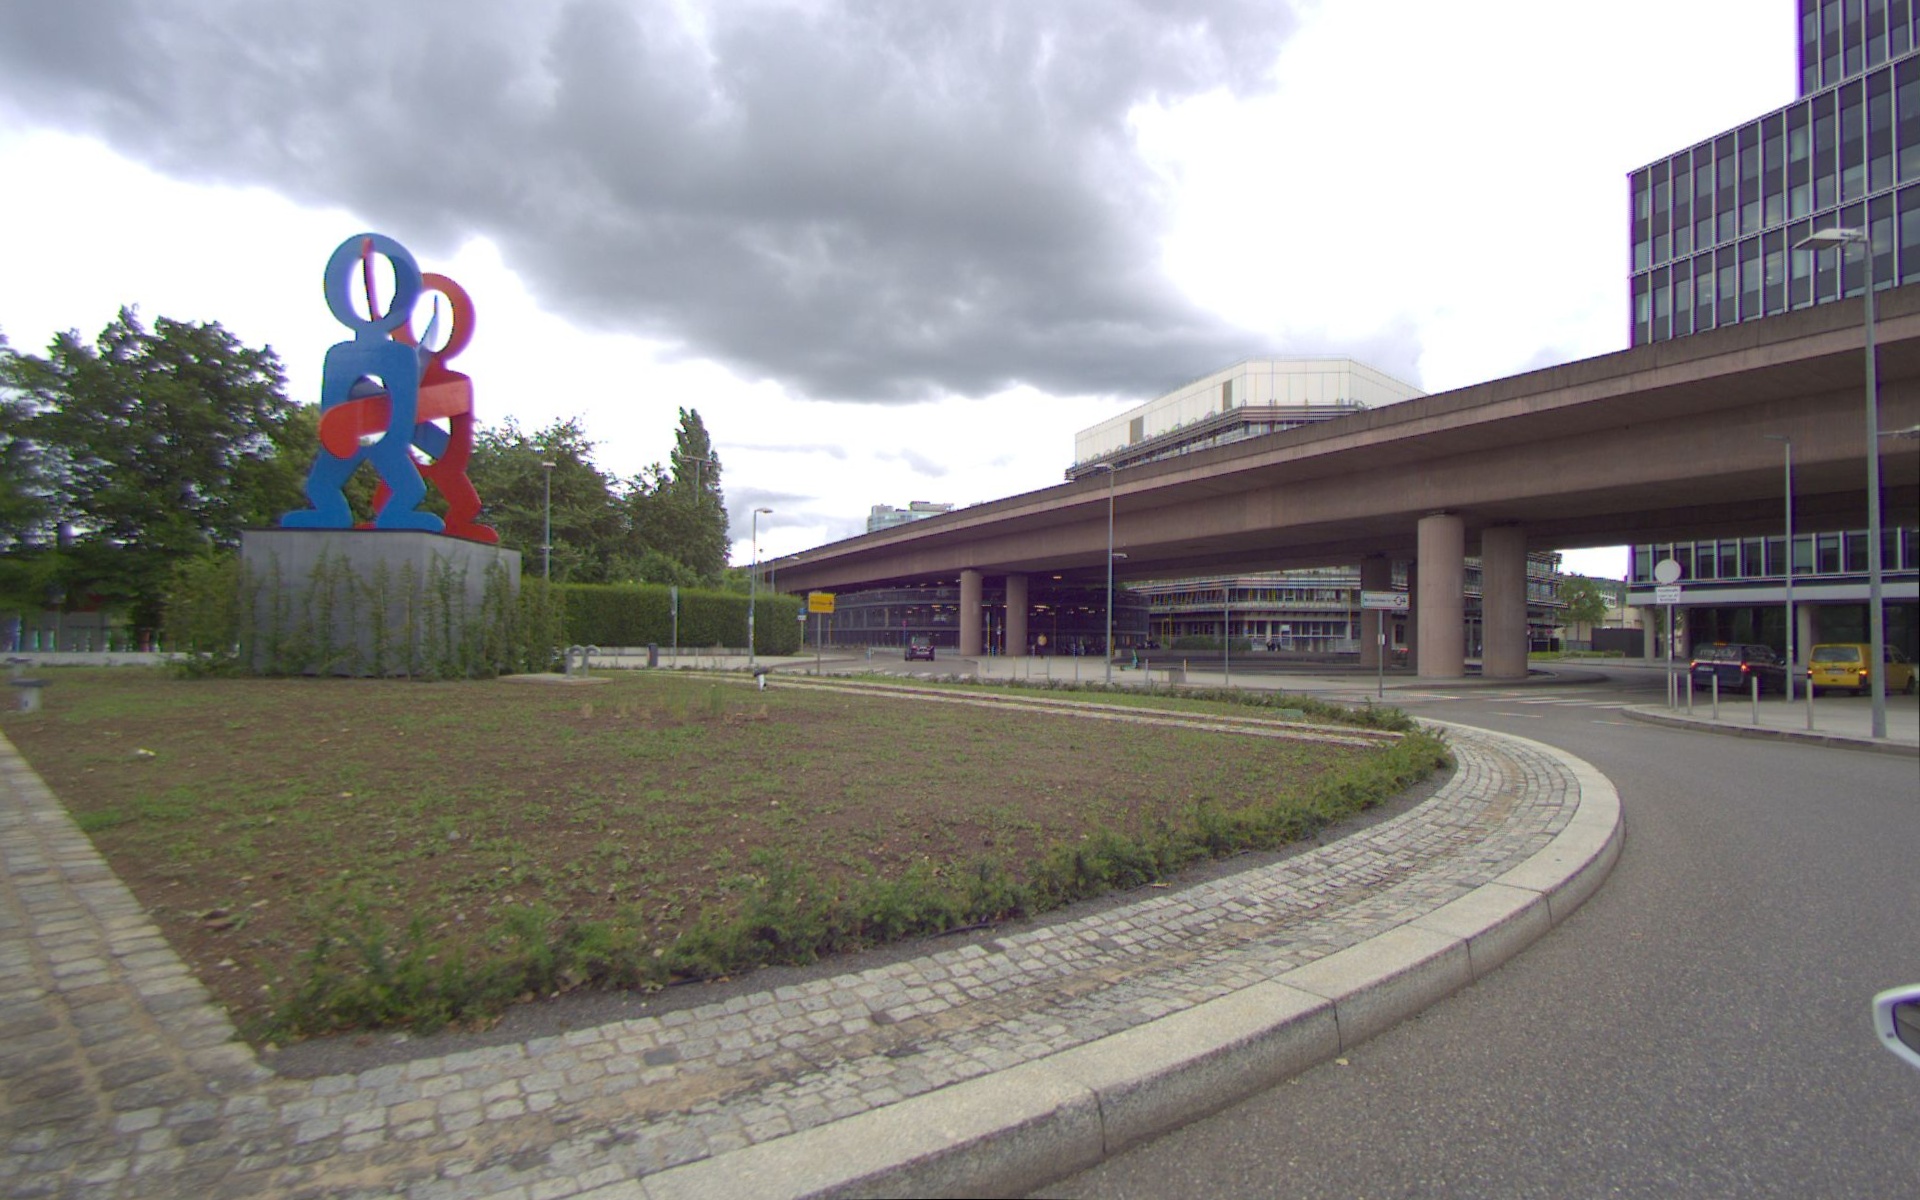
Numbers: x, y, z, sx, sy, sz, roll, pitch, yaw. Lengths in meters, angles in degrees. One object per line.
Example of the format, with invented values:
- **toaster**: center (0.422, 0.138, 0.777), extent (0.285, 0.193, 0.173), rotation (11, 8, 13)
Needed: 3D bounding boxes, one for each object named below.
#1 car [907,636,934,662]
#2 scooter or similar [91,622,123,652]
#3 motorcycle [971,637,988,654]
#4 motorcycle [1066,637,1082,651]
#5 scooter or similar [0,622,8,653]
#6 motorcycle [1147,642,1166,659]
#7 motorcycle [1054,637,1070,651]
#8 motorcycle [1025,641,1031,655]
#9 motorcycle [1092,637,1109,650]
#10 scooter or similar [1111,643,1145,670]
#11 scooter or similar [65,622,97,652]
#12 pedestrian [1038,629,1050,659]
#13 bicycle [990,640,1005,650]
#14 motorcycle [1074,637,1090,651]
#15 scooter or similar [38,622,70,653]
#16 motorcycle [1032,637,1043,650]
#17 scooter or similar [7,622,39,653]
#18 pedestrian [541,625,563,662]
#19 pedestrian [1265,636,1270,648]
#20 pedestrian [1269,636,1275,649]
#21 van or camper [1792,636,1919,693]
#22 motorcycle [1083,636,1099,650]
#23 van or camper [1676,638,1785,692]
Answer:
- **car**: center (-2.879, 3.538, 73.261), extent (1.810, 1.734, 3.703), rotation (1, -1, -5)
- **scooter or similar**: center (-33.783, 1.447, 39.765), extent (1.946, 1.124, 0.637), rotation (0, -1, 40)
- **motorcycle**: center (1.780, 4.119, 91.595), extent (0.638, 1.474, 1.742), rotation (1, -1, -39)
- **motorcycle**: center (11.041, 4.242, 97.363), extent (0.664, 1.236, 2.067), rotation (1, -1, -22)
- **scooter or similar**: center (-35.871, 1.384, 37.219), extent (1.946, 1.124, 0.637), rotation (0, -1, 40)
- **motorcycle**: center (15.804, 4.056, 80.811), extent (0.541, 1.281, 1.929), rotation (0, -1, 44)
- **motorcycle**: center (9.844, 4.226, 97.060), extent (0.664, 1.236, 2.067), rotation (1, -1, -22)
- **motorcycle**: center (6.432, 4.545, 94.801), extent (0.511, 1.236, 1.151), rotation (1, -1, 7)
- **motorcycle**: center (13.838, 4.295, 98.886), extent (0.664, 1.236, 2.067), rotation (1, -1, -23)
- **scooter or similar**: center (8.466, 2.844, 50.647), extent (1.619, 1.313, 0.518), rotation (1, -1, -9)
- **scooter or similar**: center (-34.288, 1.433, 39.189), extent (1.946, 1.124, 0.637), rotation (0, -1, 40)
- **pedestrian**: center (5.905, 3.086, 70.414), extent (0.769, 2.040, 1.040), rotation (1, -1, 5)
- **bicycle**: center (3.677, 4.385, 97.920), extent (1.447, 0.989, 0.452), rotation (1, -1, 2)
- **motorcycle**: center (11.879, 4.262, 97.798), extent (0.664, 1.236, 2.067), rotation (1, -1, -22)
- **scooter or similar**: center (-34.804, 1.417, 38.571), extent (1.946, 1.124, 0.637), rotation (0, -1, 40)
- **motorcycle**: center (7.410, 4.144, 95.884), extent (0.816, 1.236, 2.078), rotation (1, -1, -2)
- **scooter or similar**: center (-35.348, 1.401, 37.894), extent (1.946, 1.124, 0.637), rotation (0, -1, 40)
- **pedestrian**: center (-20.521, 2.185, 50.542), extent (0.858, 1.832, 0.785), rotation (1, -1, -37)
- **pedestrian**: center (37.069, 5.045, 121.090), extent (0.488, 1.501, 0.543), rotation (0, -1, 35)
- **pedestrian**: center (37.093, 5.048, 119.437), extent (0.488, 1.501, 0.543), rotation (0, -1, 35)
- **van or camper**: center (33.924, 2.390, 38.012), extent (4.452, 2.025, 2.344), rotation (1, -3, -30)
- **motorcycle**: center (12.806, 4.233, 98.243), extent (0.664, 1.303, 2.067), rotation (1, -1, -22)
- **van or camper**: center (30.181, 2.495, 39.298), extent (4.855, 1.918, 2.132), rotation (1, -1, -37)
